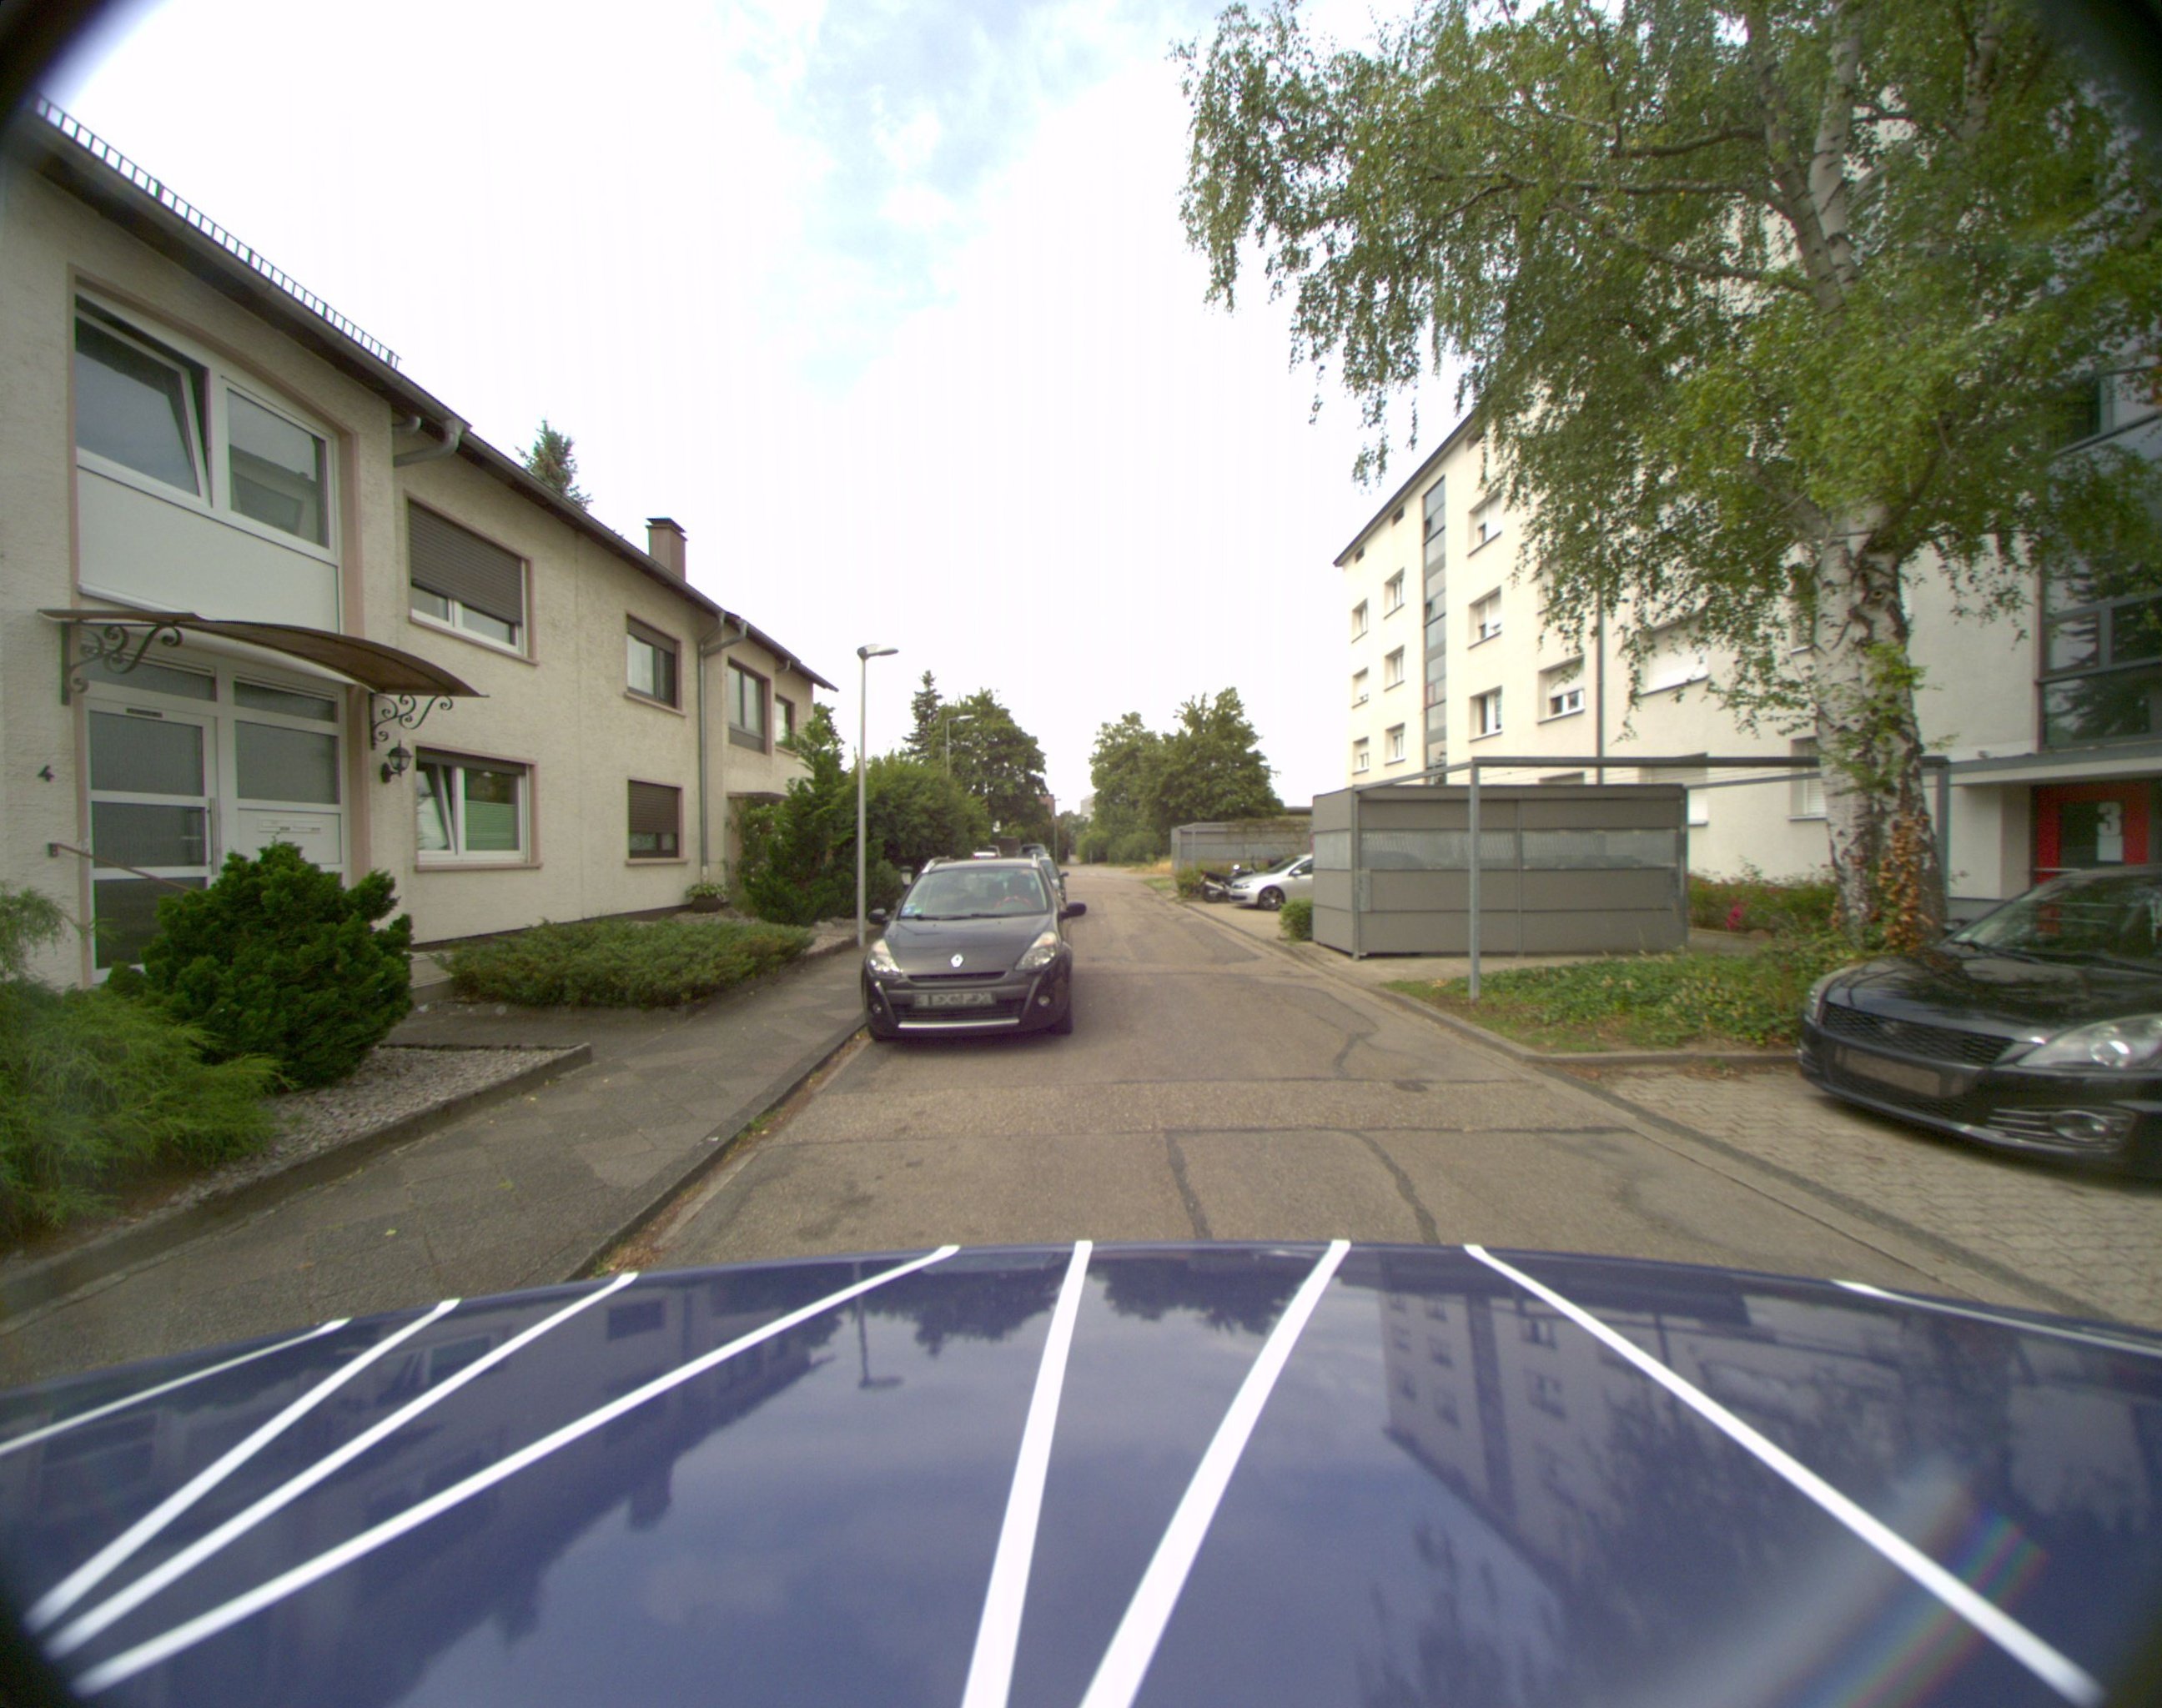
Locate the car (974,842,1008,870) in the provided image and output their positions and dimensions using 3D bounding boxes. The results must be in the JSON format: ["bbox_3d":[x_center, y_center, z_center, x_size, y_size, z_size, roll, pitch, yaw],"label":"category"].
[{"bbox_3d":[-5.127,0.084,43.751,1.705,1.458,3.997,0,2,-3],"label":"car"}]

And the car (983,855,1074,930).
[{"bbox_3d":[-1.179,0.797,17.683,1.834,1.449,4.188,-1,1,-3],"label":"car"}]

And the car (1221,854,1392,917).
[{"bbox_3d":[5.922,0.801,20.360,3.997,1.477,1.902,2,1,1],"label":"car"}]

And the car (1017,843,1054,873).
[{"bbox_3d":[-2.583,0.180,43.175,1.926,1.576,3.998,-2,1,-3],"label":"car"}]

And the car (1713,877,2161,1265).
[{"bbox_3d":[6.086,0.916,3.990,4.062,1.496,1.781,0,1,-1],"label":"car"}]

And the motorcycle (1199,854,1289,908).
[{"bbox_3d":[4.703,0.774,22.014,2.383,1.456,0.714,2,1,-1],"label":"motorcycle"}]

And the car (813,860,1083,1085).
[{"bbox_3d":[-1.022,0.838,7.407,1.834,1.449,4.188,-1,1,-3],"label":"car"}]
